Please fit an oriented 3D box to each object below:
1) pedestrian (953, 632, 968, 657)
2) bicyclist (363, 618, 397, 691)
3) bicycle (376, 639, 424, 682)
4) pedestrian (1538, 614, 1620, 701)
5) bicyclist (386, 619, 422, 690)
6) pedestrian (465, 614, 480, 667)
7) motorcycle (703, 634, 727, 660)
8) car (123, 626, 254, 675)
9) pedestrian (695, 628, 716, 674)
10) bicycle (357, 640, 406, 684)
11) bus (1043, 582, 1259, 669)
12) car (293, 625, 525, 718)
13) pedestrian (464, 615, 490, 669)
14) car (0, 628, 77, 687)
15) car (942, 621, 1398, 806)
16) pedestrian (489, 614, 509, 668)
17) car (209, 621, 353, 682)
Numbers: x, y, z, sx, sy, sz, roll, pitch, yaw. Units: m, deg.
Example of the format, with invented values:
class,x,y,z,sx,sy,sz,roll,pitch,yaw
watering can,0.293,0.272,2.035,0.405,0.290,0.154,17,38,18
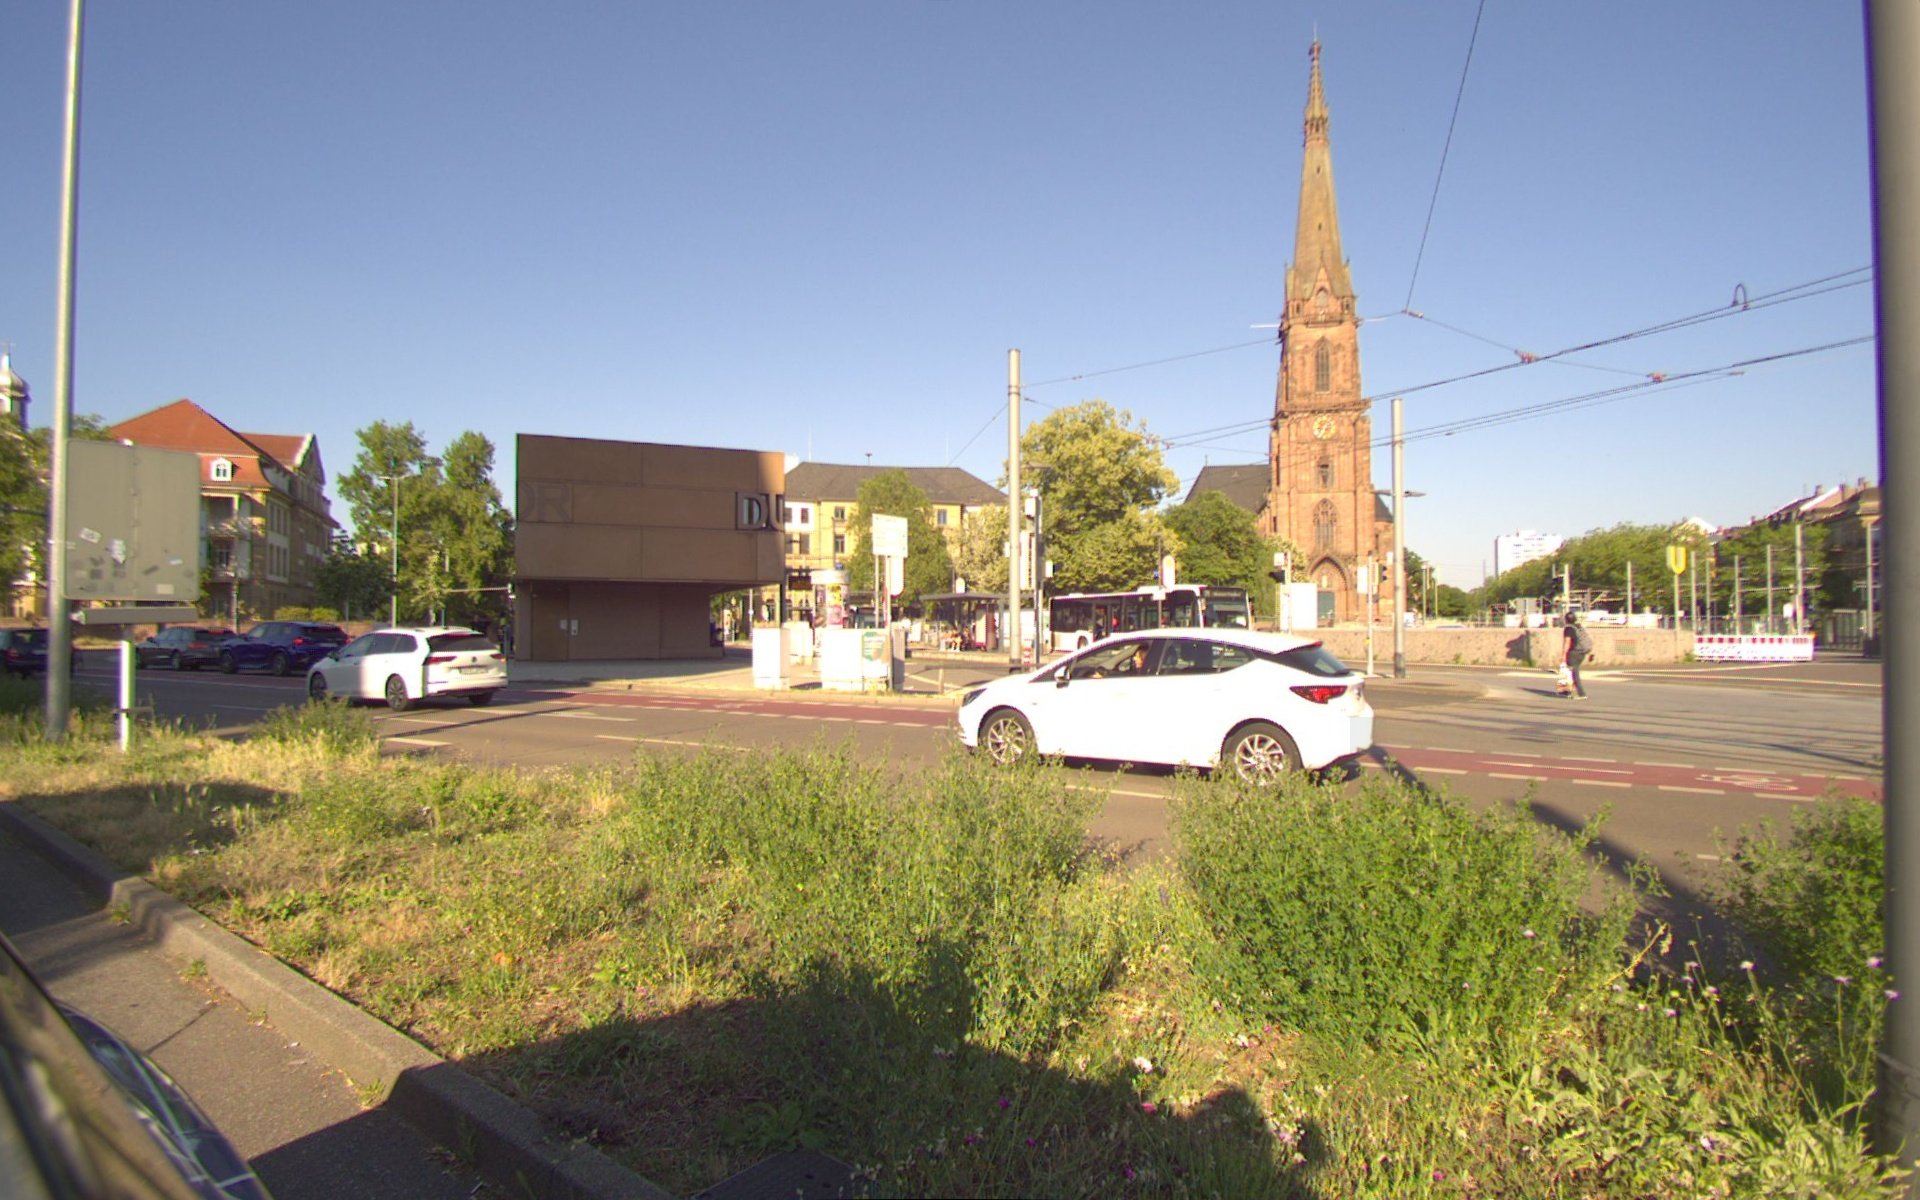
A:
class,x,y,z,sx,sy,sz,roll,pitch,yaw
pedestrian,0.018,2.185,49.971,0.531,1.196,0.660,-1,0,-21
bicyclist,-16.403,1.528,28.620,0.562,2.029,0.605,-1,-2,25
bicycle,-16.219,1.736,29.295,1.388,1.201,0.461,-1,0,23
pedestrian,12.597,1.142,20.612,1.025,1.696,1.007,-1,0,-25
bicyclist,-16.055,1.558,29.213,0.705,2.029,0.605,-1,-2,25
pedestrian,-18.984,1.585,39.412,0.460,2.029,0.658,-1,0,-33
motorcycle,-10.184,1.950,42.013,0.935,1.075,0.331,-1,0,-11
car,-25.194,1.642,33.021,4.375,1.503,1.831,-1,-4,30
pedestrian,-11.373,2.262,45.292,0.762,2.029,0.778,-1,0,-2
bicycle,-16.427,1.739,28.717,1.388,1.201,0.461,-1,0,23
bus,7.647,0.960,43.371,2.655,3.174,12.216,-1,0,-23
car,-10.322,1.242,18.890,4.375,1.503,1.831,-1,0,30
pedestrian,-18.438,1.578,38.623,0.765,2.029,0.775,-1,0,-37
car,-26.811,1.574,28.539,4.174,1.471,1.738,-1,0,32
car,2.012,0.970,10.243,4.179,1.471,1.736,-1,0,35
pedestrian,-17.760,1.569,39.006,0.645,2.029,0.470,-1,0,-29
car,-20.157,1.469,30.030,4.167,1.703,1.741,-1,-1,27
